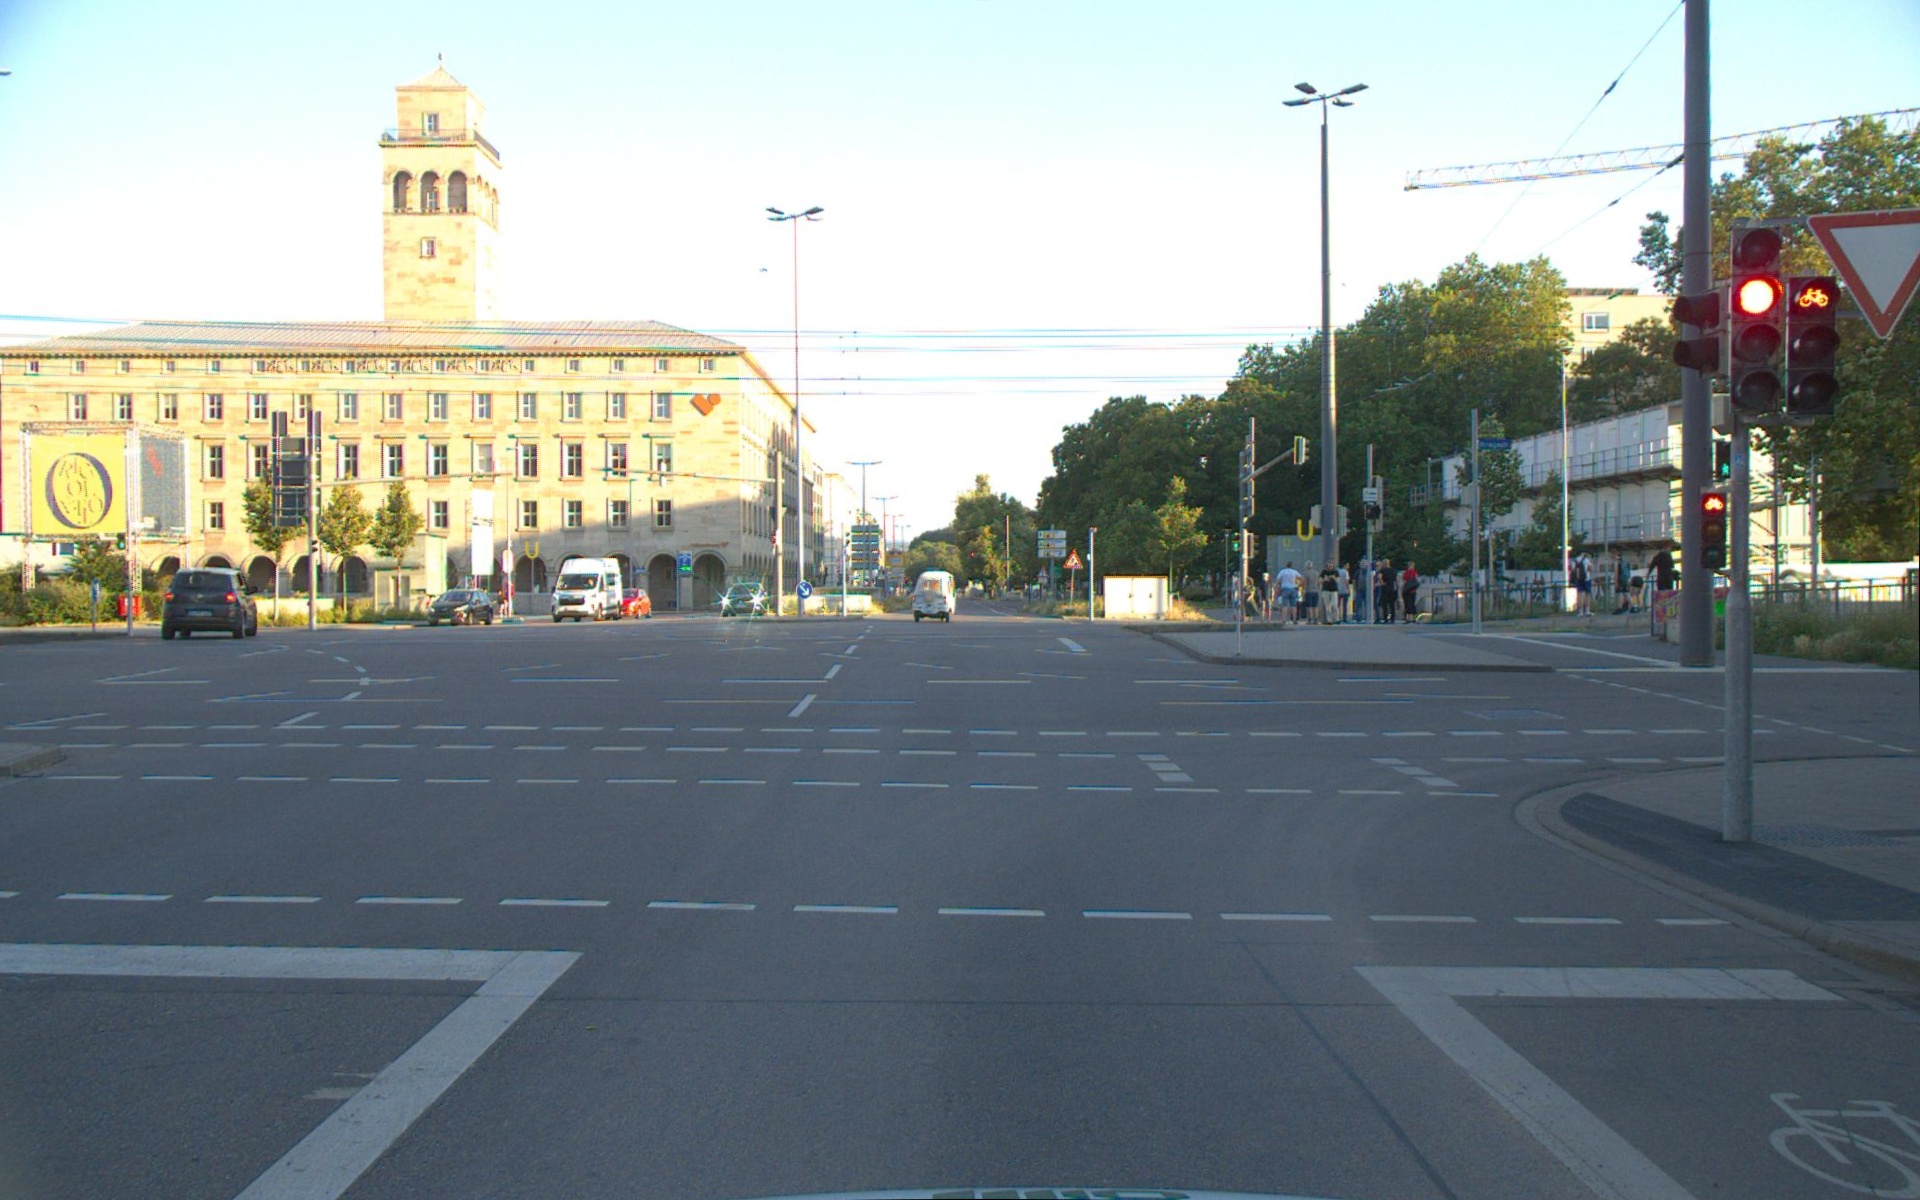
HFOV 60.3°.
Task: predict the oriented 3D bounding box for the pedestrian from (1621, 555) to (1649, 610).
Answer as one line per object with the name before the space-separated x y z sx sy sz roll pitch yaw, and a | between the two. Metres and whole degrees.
pedestrian | 18.073 -0.471 44.272 0.662 1.466 0.714 0 0 21

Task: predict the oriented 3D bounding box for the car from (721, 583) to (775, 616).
car | -9.252 -0.048 72.483 1.785 1.365 4.001 0 1 1

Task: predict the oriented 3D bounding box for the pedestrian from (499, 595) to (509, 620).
pedestrian | -24.463 0.415 88.693 0.412 1.323 0.459 1 -1 -6

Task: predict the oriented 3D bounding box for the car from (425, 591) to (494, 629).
car | -21.107 0.402 69.935 1.786 1.491 4.156 -1 1 -2

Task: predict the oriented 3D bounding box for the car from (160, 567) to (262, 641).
car | -17.768 0.067 39.372 1.712 1.632 4.113 -1 1 -18

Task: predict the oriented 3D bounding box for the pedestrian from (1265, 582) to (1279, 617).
pedestrian | 16.565 -0.022 87.946 0.652 1.874 0.713 0 1 4

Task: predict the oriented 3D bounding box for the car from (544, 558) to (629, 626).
car | -16.241 -0.390 72.229 2.232 2.824 6.085 -1 1 1

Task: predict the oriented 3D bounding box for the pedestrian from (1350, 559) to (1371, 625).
pedestrian | 11.086 -0.217 45.822 0.560 1.822 0.639 0 1 13

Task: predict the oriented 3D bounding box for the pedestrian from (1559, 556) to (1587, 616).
pedestrian | 16.664 -0.372 44.949 0.559 1.620 0.536 -1 0 -1

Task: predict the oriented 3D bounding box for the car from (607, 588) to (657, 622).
car | -16.020 0.222 80.930 1.703 1.513 4.000 -1 1 -1

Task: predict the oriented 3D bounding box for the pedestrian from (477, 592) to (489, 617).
pedestrian | -25.583 0.258 88.758 0.496 1.323 0.700 1 -1 -6

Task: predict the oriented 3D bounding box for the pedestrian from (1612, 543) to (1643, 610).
pedestrian | 17.623 -0.618 43.656 0.696 1.755 0.669 0 1 16

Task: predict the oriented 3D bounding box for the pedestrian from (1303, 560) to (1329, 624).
pedestrian | 9.856 -0.230 45.813 0.695 1.755 0.669 0 1 13

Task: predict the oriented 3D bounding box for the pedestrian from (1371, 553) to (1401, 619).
pedestrian | 11.785 -0.394 45.795 0.788 1.822 0.801 0 1 13

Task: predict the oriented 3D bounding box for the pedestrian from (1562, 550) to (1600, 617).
pedestrian | 16.434 -0.451 43.785 0.655 1.755 0.710 -1 1 -15

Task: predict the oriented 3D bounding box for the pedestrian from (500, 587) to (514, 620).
pedestrian | -24.578 0.198 89.755 0.609 1.774 0.459 1 -1 -6

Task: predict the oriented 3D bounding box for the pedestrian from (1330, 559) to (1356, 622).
pedestrian | 10.816 -0.266 46.707 0.695 1.755 0.916 0 1 13

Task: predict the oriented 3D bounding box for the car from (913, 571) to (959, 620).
car | -0.849 -0.182 59.571 1.452 1.725 2.975 -1 1 3

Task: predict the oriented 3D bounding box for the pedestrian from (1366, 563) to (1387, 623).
pedestrian | 11.855 -0.210 47.129 0.560 1.708 0.639 0 1 13

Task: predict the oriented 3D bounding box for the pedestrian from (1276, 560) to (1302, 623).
pedestrian | 9.137 -0.242 45.931 0.695 1.755 0.669 0 1 14

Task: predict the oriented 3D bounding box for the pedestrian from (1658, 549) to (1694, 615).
pedestrian | 19.342 -0.487 44.697 0.696 1.755 0.669 0 0 4

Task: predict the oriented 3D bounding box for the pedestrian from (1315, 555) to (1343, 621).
pedestrian | 9.818 -0.326 44.029 0.695 1.755 0.916 0 1 10

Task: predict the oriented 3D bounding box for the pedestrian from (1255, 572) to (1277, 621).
pedestrian | 11.236 -0.130 60.729 0.665 1.788 0.902 0 1 20

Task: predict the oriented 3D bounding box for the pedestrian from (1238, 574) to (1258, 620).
pedestrian | 10.602 -0.114 60.849 0.548 1.683 0.902 0 1 20

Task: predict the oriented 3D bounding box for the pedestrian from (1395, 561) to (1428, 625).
pedestrian | 12.610 -0.190 46.196 0.826 1.764 0.706 0 1 11
